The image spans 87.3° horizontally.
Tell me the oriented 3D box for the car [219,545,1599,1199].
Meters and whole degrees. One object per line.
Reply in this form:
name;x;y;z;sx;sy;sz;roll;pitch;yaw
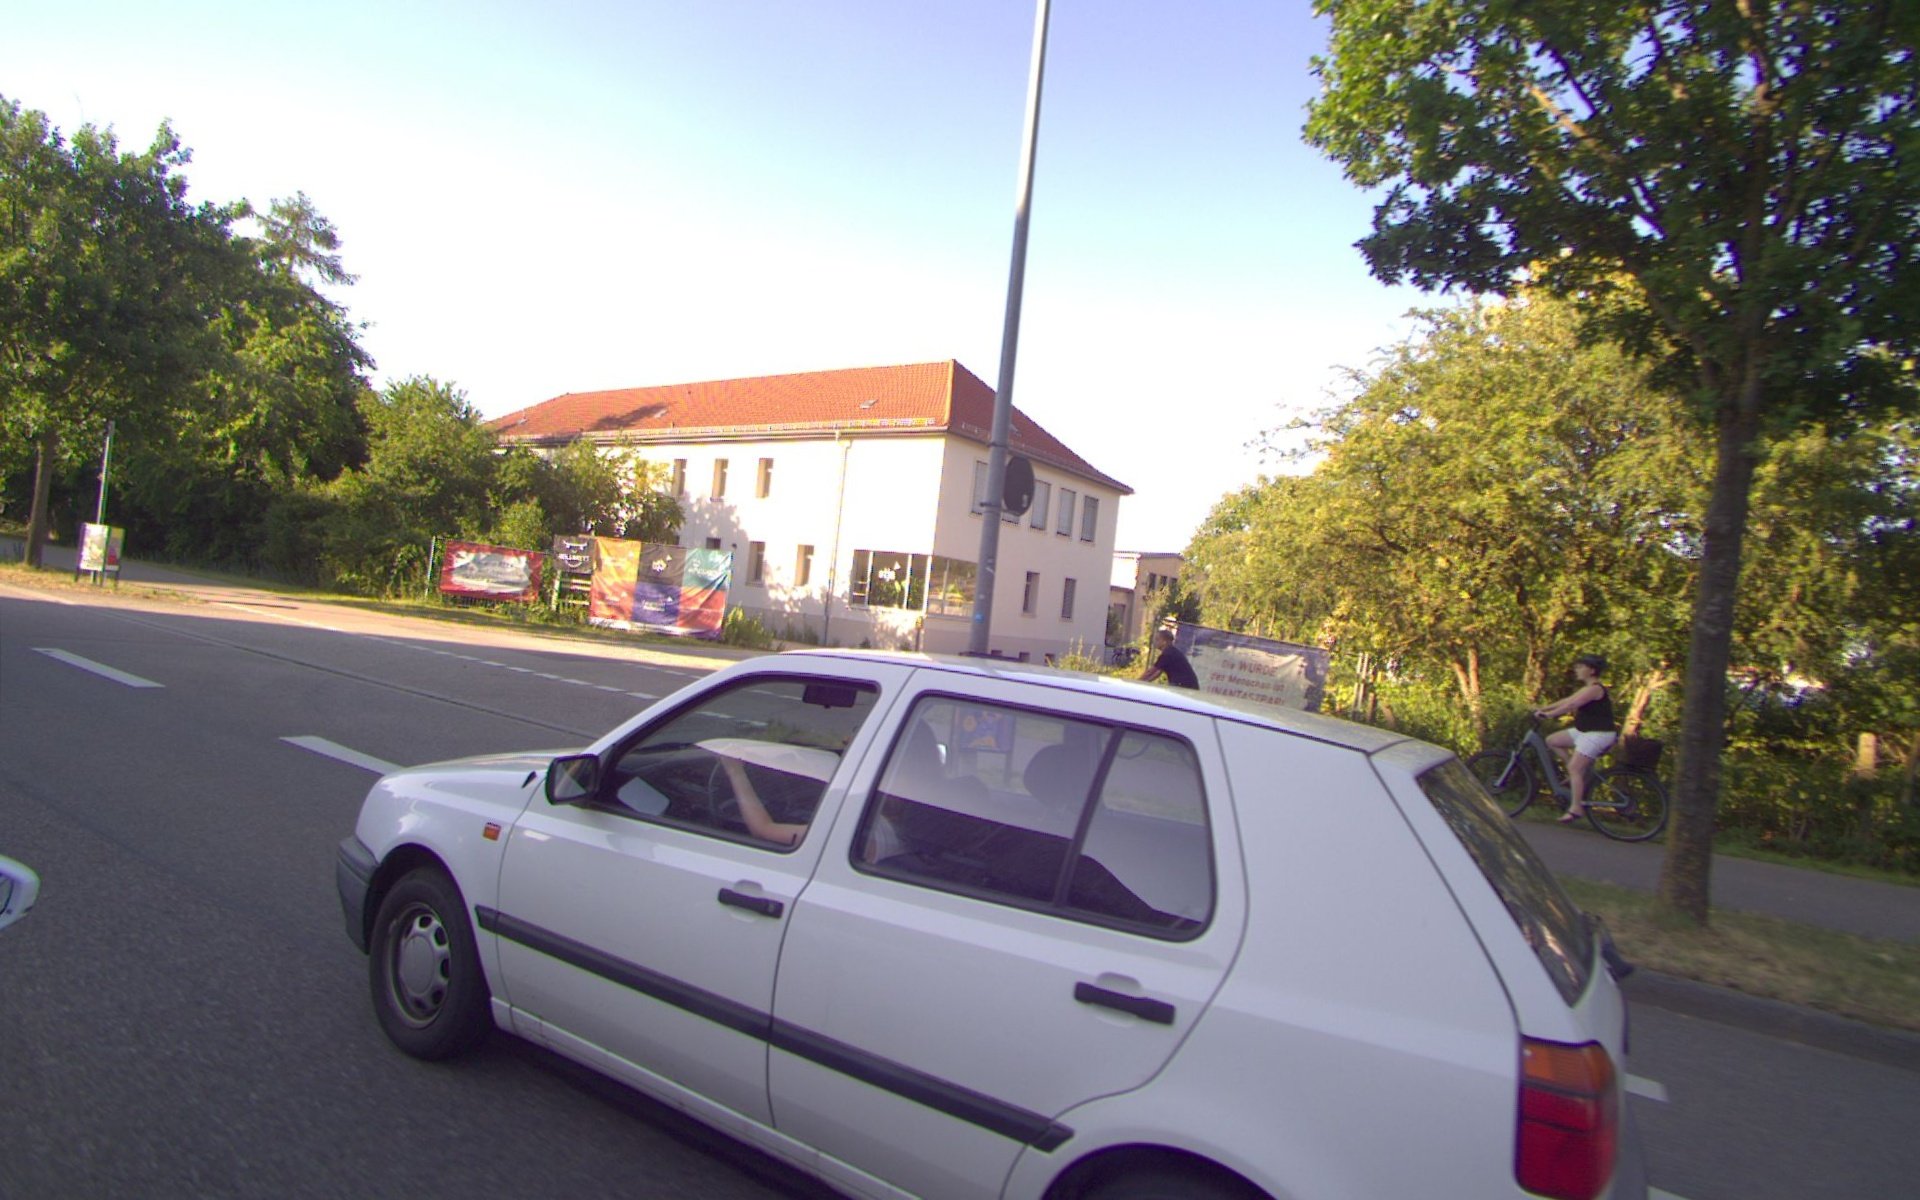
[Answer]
car;-0.408;0.729;3.227;3.971;1.414;1.615;5;-3;30

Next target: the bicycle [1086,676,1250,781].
bicycle;2.546;1.549;12.420;1.792;0.985;0.617;6;0;33

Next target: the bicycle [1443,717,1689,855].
bicycle;6.168;1.857;10.344;2.025;0.985;0.617;6;0;33

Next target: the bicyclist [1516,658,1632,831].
bicyclist;6.272;1.449;10.295;0.834;1.598;0.603;6;0;33

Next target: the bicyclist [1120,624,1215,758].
bicyclist;2.571;1.113;12.443;0.834;1.520;0.613;6;0;33
